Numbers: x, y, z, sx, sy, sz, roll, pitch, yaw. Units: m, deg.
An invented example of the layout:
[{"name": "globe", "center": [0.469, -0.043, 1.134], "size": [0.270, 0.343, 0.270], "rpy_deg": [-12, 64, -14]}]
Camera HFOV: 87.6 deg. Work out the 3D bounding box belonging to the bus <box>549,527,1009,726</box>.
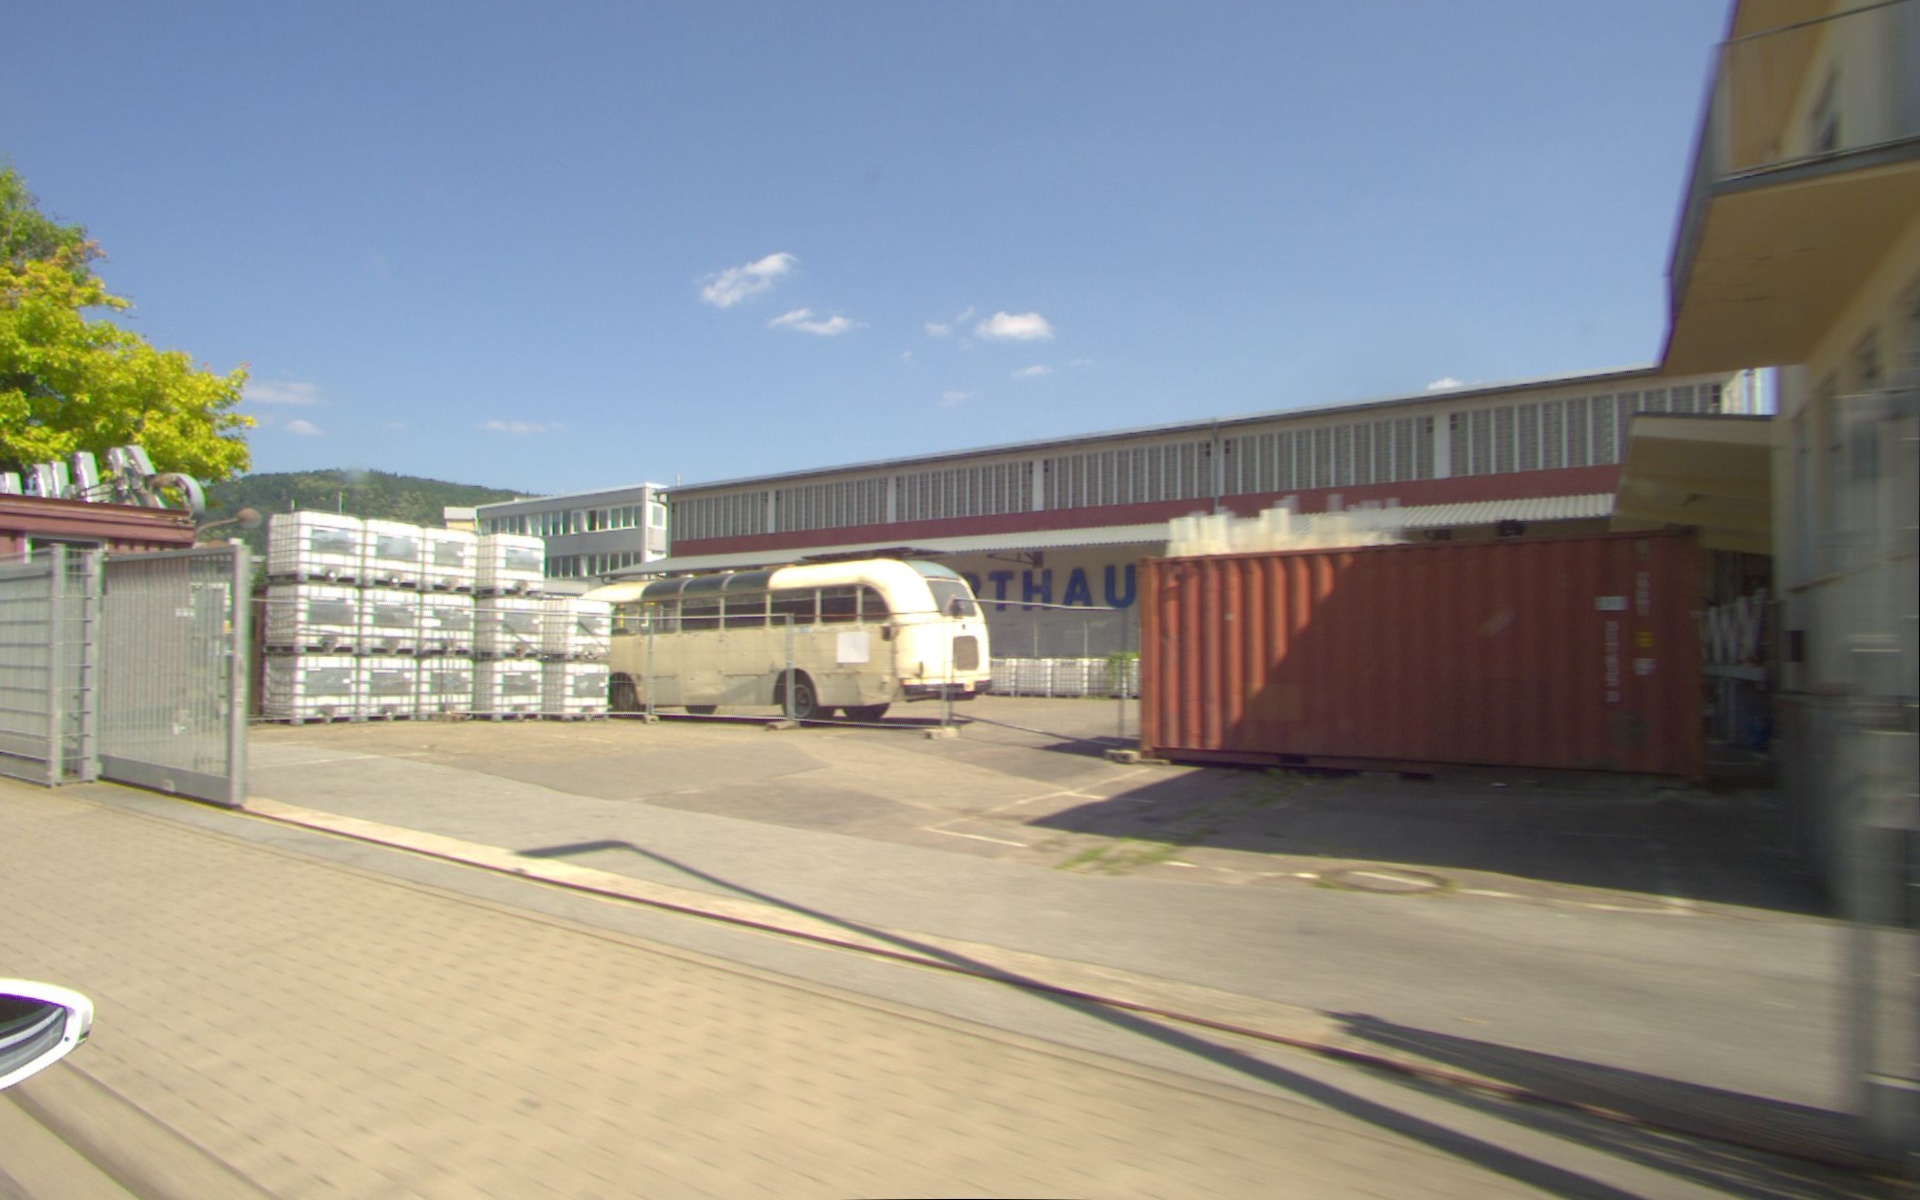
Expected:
[{"name": "bus", "center": [-4.026, 0.709, 20.033], "size": [10.129, 3.210, 2.561], "rpy_deg": [-3, -4, 34]}]
